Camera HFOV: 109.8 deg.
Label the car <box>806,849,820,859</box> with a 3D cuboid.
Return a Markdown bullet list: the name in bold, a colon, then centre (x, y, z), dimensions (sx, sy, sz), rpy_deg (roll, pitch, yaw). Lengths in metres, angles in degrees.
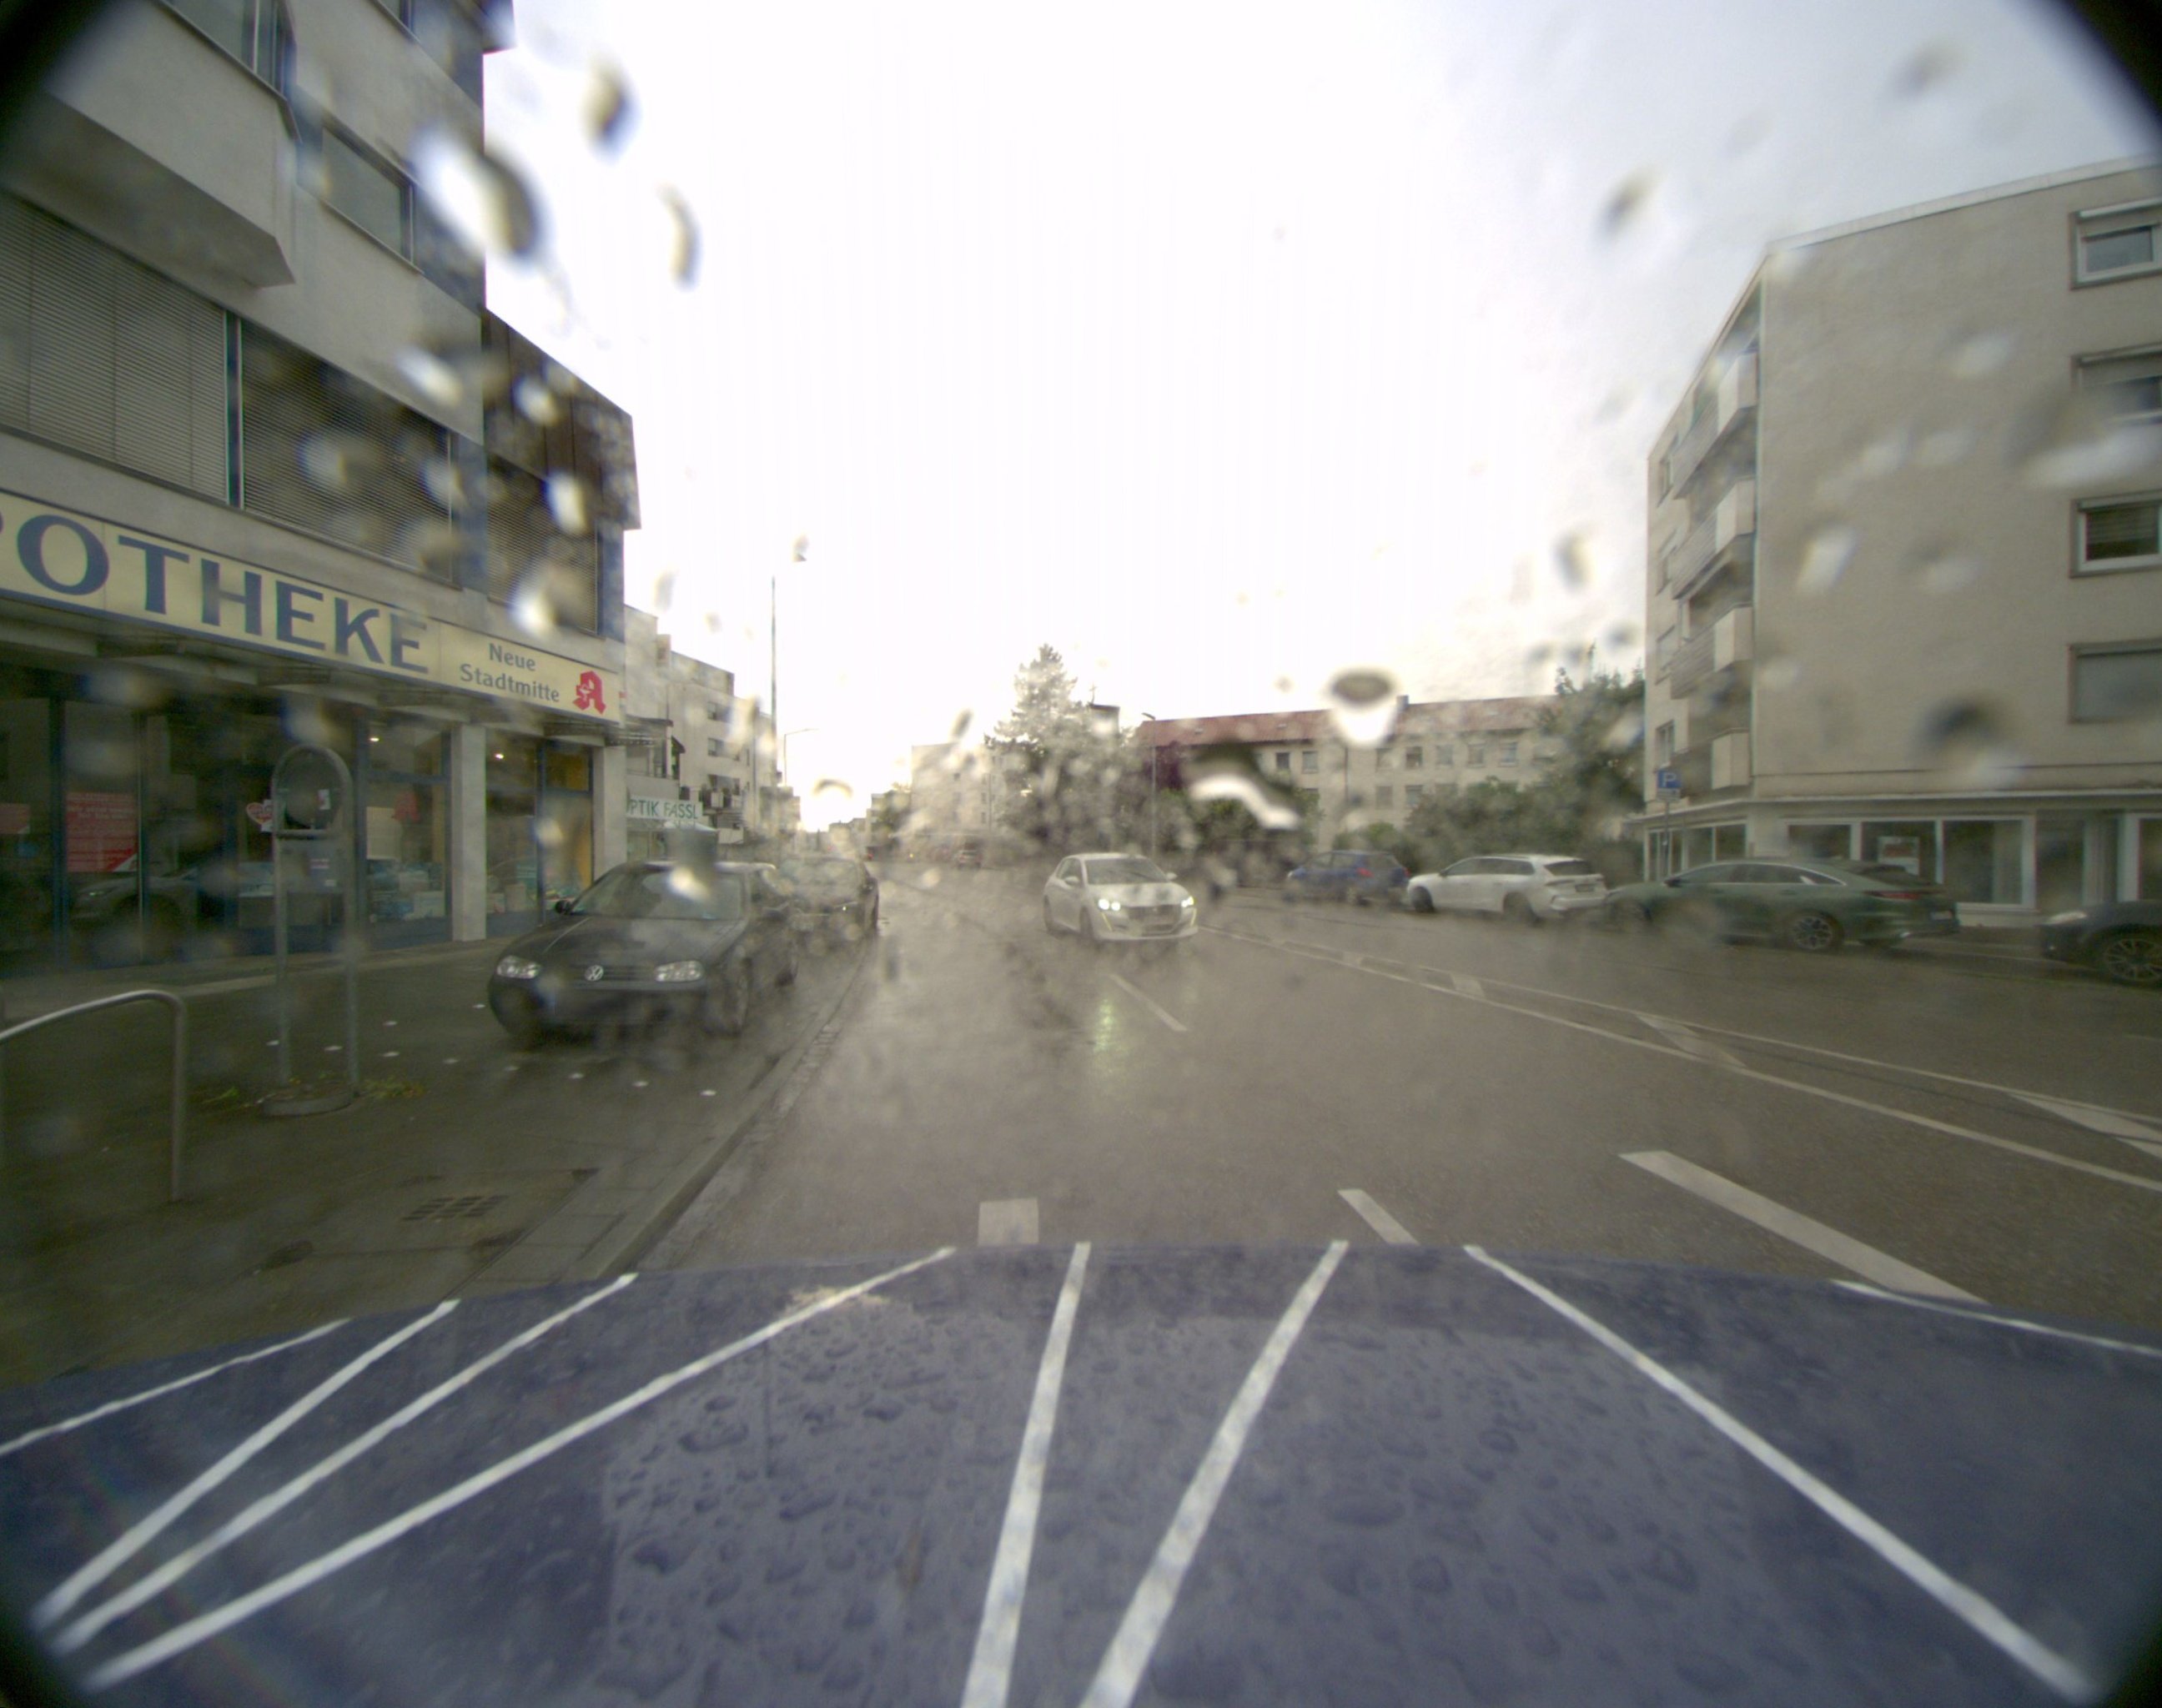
- **car**: centre (-41.007, -0.033, 116.267), dimensions (1.804, 1.361, 3.965), rpy_deg (-1, 2, -22)

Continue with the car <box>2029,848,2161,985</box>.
- **car**: centre (13.105, 0.702, 7.580), dimensions (1.839, 1.451, 4.180), rpy_deg (-2, 2, -19)

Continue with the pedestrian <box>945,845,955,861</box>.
- **pedestrian**: centre (-14.478, -0.132, 83.873), dimensions (0.857, 1.726, 0.834), rpy_deg (-1, 2, -28)

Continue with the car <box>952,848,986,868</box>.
- **car**: centre (-8.612, 0.297, 58.163), dimensions (1.874, 1.428, 3.734), rpy_deg (-1, 1, -19)

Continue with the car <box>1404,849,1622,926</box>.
- **car**: centre (9.703, 0.662, 17.513), dimensions (1.639, 1.491, 4.338), rpy_deg (-1, 1, -20)

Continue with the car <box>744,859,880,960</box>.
- **car**: centre (-4.486, 0.825, 13.226), dimensions (1.660, 1.416, 3.995), rpy_deg (0, 1, -11)

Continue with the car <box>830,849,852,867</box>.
- **car**: centre (-21.372, 0.306, 67.540), dimensions (1.737, 1.436, 4.039), rpy_deg (-2, 2, -20)

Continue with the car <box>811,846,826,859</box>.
- **car**: centre (-32.851, -0.187, 95.040), dimensions (1.736, 1.519, 4.056), rpy_deg (-1, 0, -20)

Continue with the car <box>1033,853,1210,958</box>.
- **car**: centre (0.500, 0.730, 12.929), dimensions (1.745, 1.401, 3.890), rpy_deg (-2, 1, -17)

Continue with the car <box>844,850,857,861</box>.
- **car**: centre (-42.143, 0.222, 138.919), dimensions (2.002, 2.002, 3.993), rpy_deg (-3, 1, -20)

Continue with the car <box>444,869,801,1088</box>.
- **car**: centre (-3.818, 0.904, 7.101), dimensions (1.656, 1.364, 3.727), rpy_deg (2, 0, -11)

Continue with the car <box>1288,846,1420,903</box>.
- **car**: centre (8.026, 0.538, 22.727), dimensions (1.636, 1.497, 3.874), rpy_deg (-1, 1, -19)

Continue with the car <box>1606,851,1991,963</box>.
- **car**: centre (11.449, 0.711, 12.590), dimensions (1.839, 1.426, 4.266), rpy_deg (-2, 2, -20)
